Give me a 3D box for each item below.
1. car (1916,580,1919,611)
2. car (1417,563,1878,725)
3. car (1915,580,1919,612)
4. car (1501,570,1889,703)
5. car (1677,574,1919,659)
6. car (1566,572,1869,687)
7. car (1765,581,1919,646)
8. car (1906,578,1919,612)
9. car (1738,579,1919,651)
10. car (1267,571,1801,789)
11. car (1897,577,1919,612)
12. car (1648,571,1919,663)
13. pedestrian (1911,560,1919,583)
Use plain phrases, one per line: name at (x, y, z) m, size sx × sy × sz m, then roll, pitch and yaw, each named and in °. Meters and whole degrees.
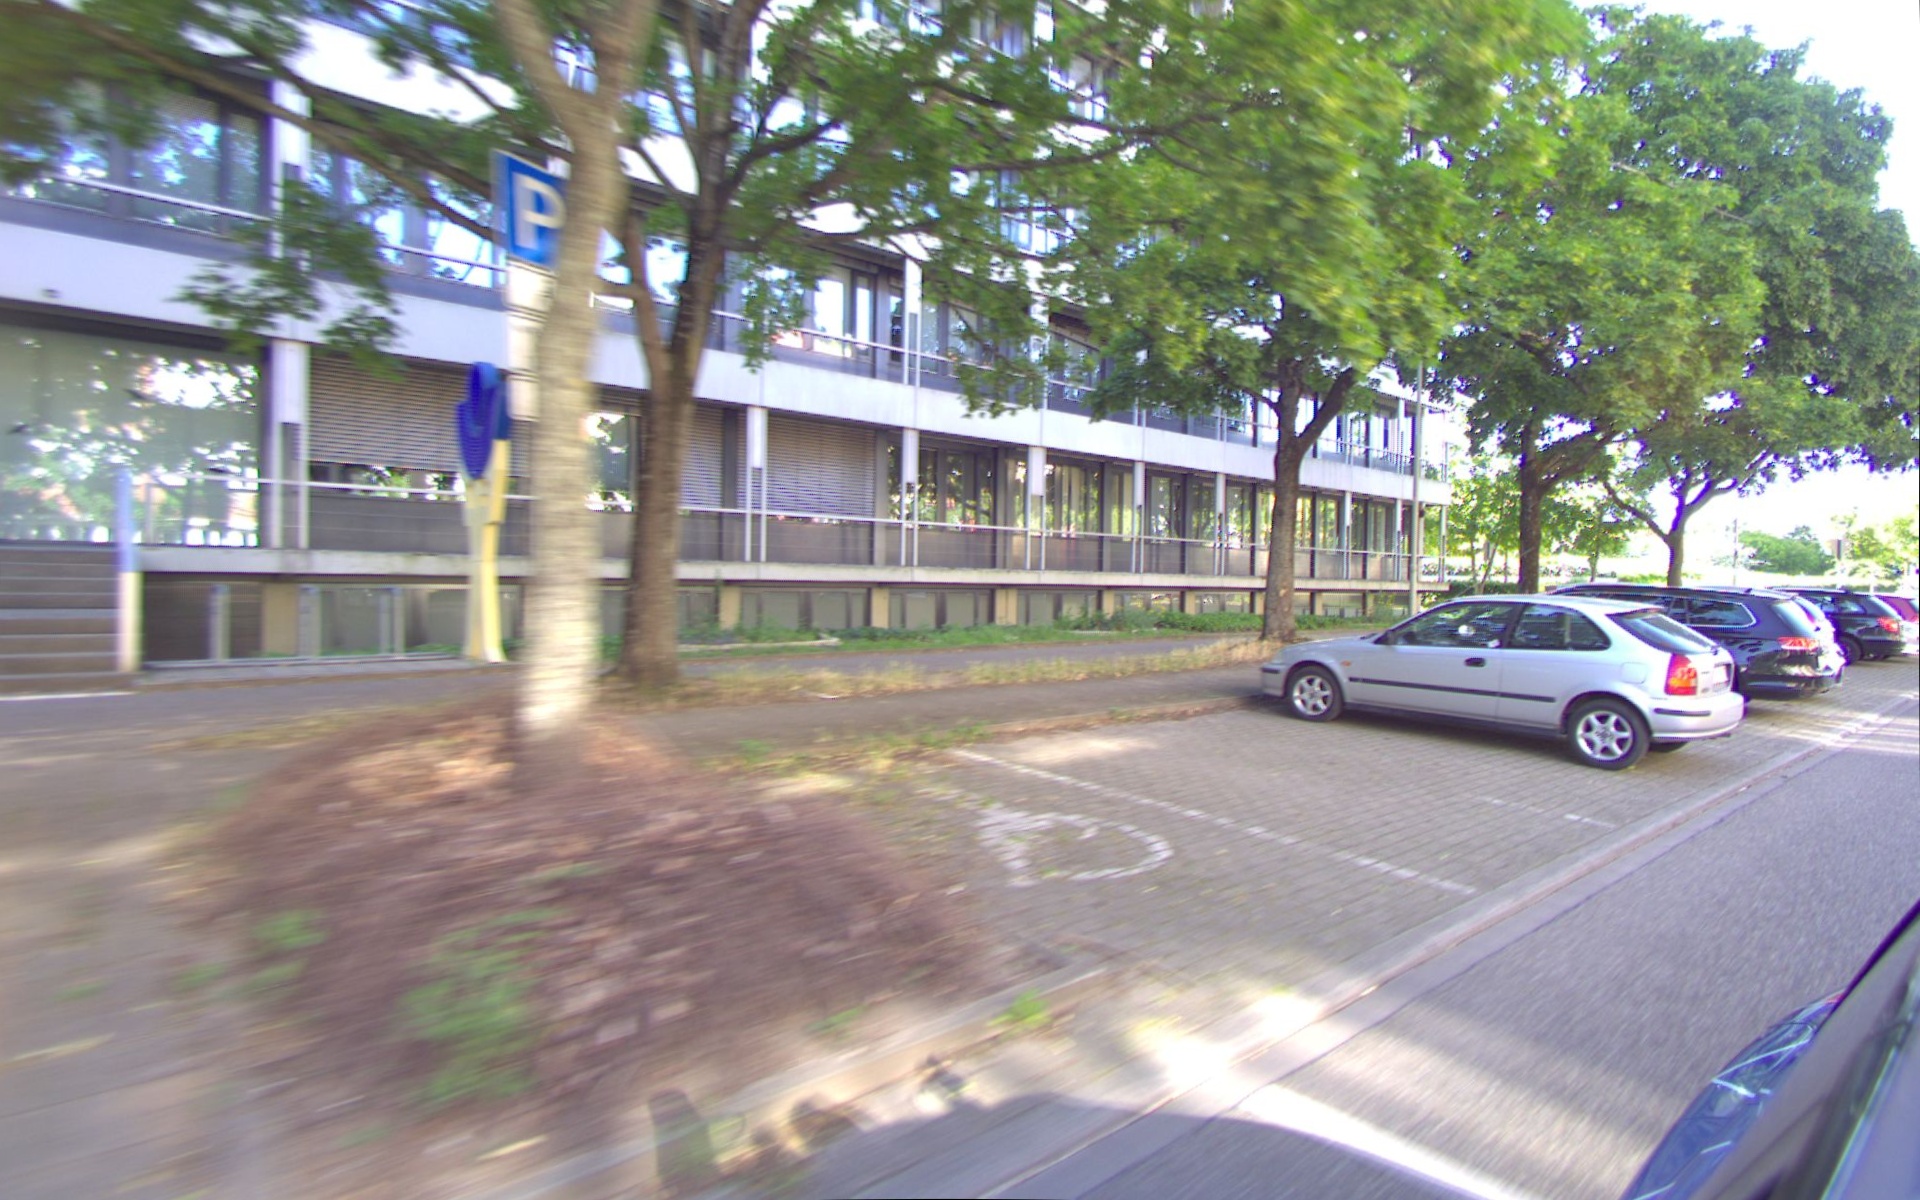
car at (49.726, -0.054, 49.131) m, size 2.120 × 1.533 × 4.562 m, roll -1°, pitch 5°, yaw -39°
car at (8.611, 0.398, 13.059) m, size 1.733 × 1.511 × 4.600 m, roll -1°, pitch 5°, yaw -42°
car at (47.750, -0.069, 47.588) m, size 1.720 × 1.533 × 3.886 m, roll -1°, pitch 5°, yaw -39°
car at (10.728, 0.407, 15.036) m, size 1.969 × 1.511 × 4.295 m, roll 0°, pitch 4°, yaw -41°
car at (19.247, 0.288, 22.878) m, size 1.886 × 1.561 × 4.531 m, roll 0°, pitch 4°, yaw -36°
car at (12.349, 0.383, 16.651) m, size 1.590 × 1.511 × 3.747 m, roll -1°, pitch 4°, yaw -44°
car at (23.658, 0.333, 25.828) m, size 1.716 × 1.493 × 4.588 m, roll 0°, pitch 3°, yaw -40°
car at (46.053, -0.097, 45.859) m, size 4.553 × 1.533 × 1.951 m, roll 6°, pitch 5°, yaw 44°
car at (21.482, 0.309, 24.437) m, size 1.886 × 1.464 × 3.851 m, roll 0°, pitch 4°, yaw -36°
car at (5.116, 0.541, 9.483) m, size 1.680 × 1.437 × 3.979 m, roll 0°, pitch 4°, yaw -40°
car at (43.892, -0.133, 44.274) m, size 1.671 × 1.533 × 3.959 m, roll -1°, pitch 5°, yaw -39°
car at (17.430, 0.269, 21.308) m, size 1.890 × 1.561 × 4.521 m, roll -1°, pitch 4°, yaw -44°
pedestrian at (65.342, -1.911, 68.910) m, size 0.919 × 1.561 × 0.609 m, roll 0°, pitch 2°, yaw -35°
